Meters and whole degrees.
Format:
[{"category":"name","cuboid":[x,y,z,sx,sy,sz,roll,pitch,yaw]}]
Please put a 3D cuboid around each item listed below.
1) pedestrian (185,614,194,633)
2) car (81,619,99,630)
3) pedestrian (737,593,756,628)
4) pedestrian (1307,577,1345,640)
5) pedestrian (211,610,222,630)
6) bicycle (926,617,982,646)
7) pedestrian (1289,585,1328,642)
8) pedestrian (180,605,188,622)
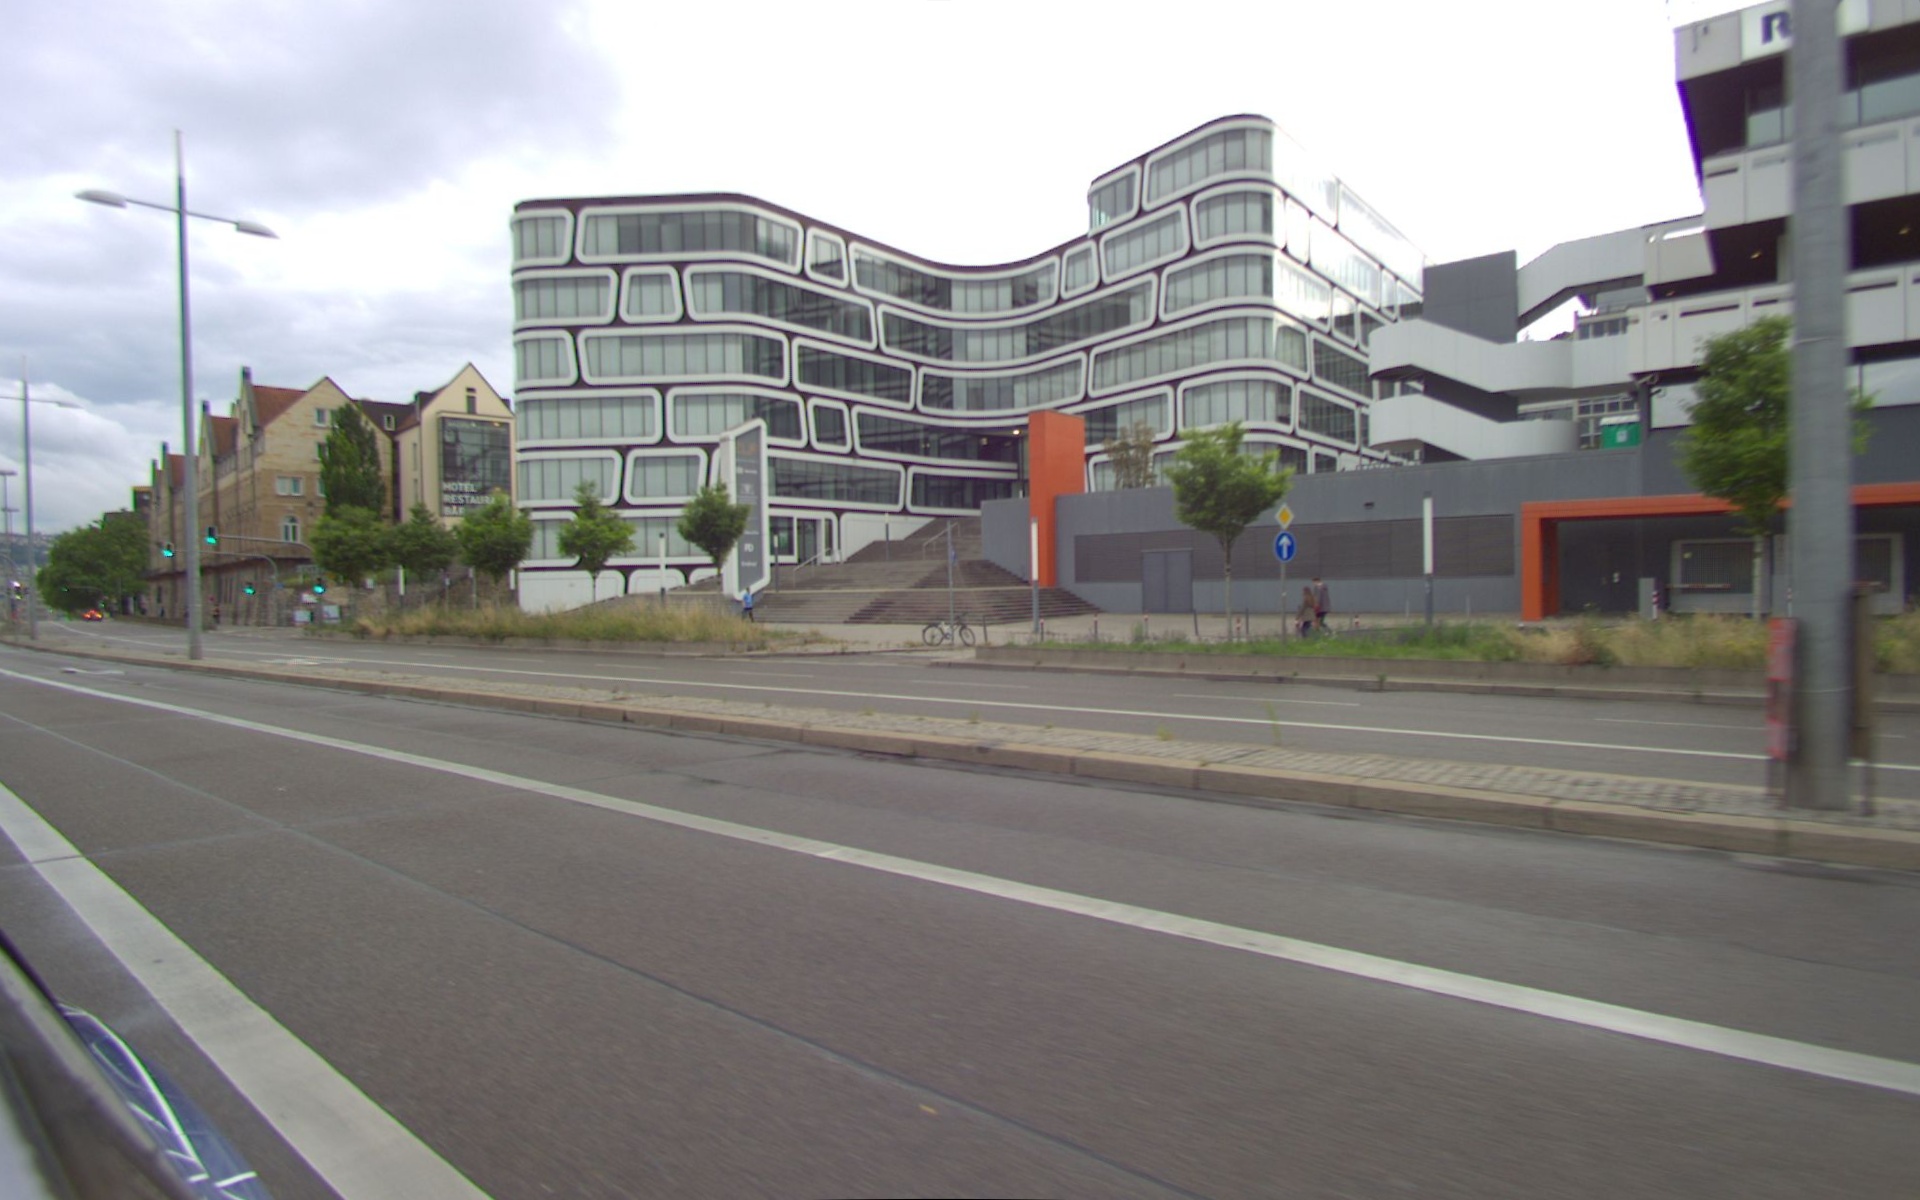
[{"category":"pedestrian","cuboid":[-75.393,2.286,99.050,0.668,1.792,0.684,-1,1,-44]},{"category":"car","cuboid":[-125.307,3.538,145.714,1.690,1.475,4.004,-2,1,-43]},{"category":"pedestrian","cuboid":[-9.908,0.489,46.868,0.640,1.623,0.604,0,1,43]},{"category":"pedestrian","cuboid":[9.922,0.215,27.442,0.798,1.670,0.611,0,1,42]},{"category":"pedestrian","cuboid":[-67.122,1.782,91.341,0.668,1.792,0.684,-1,1,-44]},{"category":"bicycle","cuboid":[-0.177,0.965,31.000,1.637,0.864,0.608,0,0,7]},{"category":"pedestrian","cuboid":[9.187,0.342,26.698,0.798,1.457,0.611,0,1,42]},{"category":"pedestrian","cuboid":[-82.887,1.462,108.090,0.668,1.792,0.684,-1,1,-44]}]
